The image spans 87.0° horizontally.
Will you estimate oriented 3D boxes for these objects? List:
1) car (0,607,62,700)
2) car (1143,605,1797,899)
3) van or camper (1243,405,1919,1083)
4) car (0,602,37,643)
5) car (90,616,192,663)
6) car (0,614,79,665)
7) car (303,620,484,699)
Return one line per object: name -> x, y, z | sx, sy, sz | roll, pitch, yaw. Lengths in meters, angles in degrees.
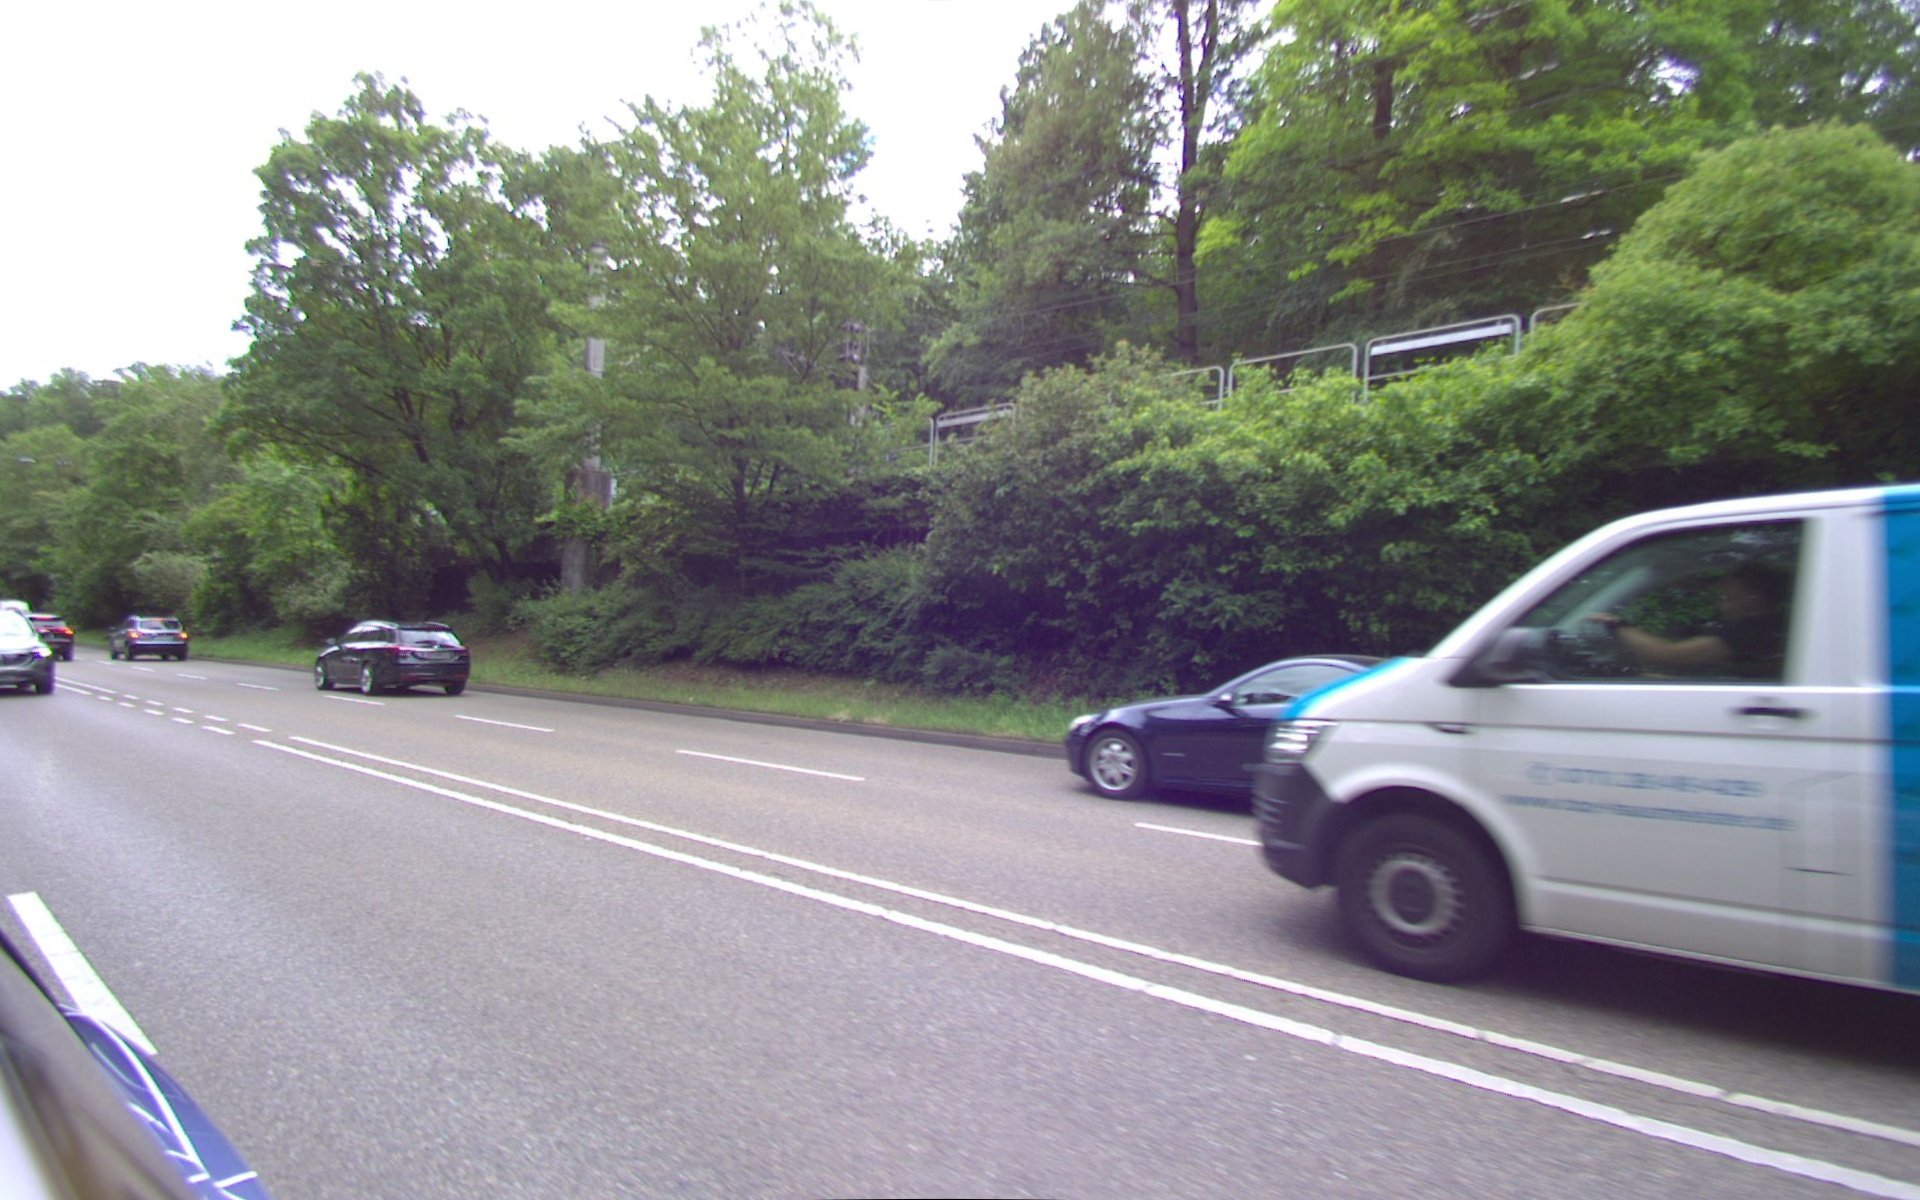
car -> -19.000, 0.983, 19.572 | 4.190, 1.675, 1.847 | -1, -3, 41
car -> 3.590, 0.902, 7.563 | 4.067, 1.608, 1.718 | -1, -4, 41
van or camper -> 3.928, 0.484, 3.450 | 5.364, 2.029, 1.973 | -1, -5, 40
car -> -61.672, 1.452, 65.759 | 4.913, 2.575, 1.867 | -1, -4, 42
car -> -30.279, 1.450, 37.407 | 4.179, 1.624, 1.776 | 0, -3, 35
car -> -32.630, 1.336, 35.703 | 4.829, 1.674, 1.790 | -1, -1, 43
car -> -11.894, 1.189, 21.117 | 4.528, 1.479, 1.893 | -1, -3, 42
